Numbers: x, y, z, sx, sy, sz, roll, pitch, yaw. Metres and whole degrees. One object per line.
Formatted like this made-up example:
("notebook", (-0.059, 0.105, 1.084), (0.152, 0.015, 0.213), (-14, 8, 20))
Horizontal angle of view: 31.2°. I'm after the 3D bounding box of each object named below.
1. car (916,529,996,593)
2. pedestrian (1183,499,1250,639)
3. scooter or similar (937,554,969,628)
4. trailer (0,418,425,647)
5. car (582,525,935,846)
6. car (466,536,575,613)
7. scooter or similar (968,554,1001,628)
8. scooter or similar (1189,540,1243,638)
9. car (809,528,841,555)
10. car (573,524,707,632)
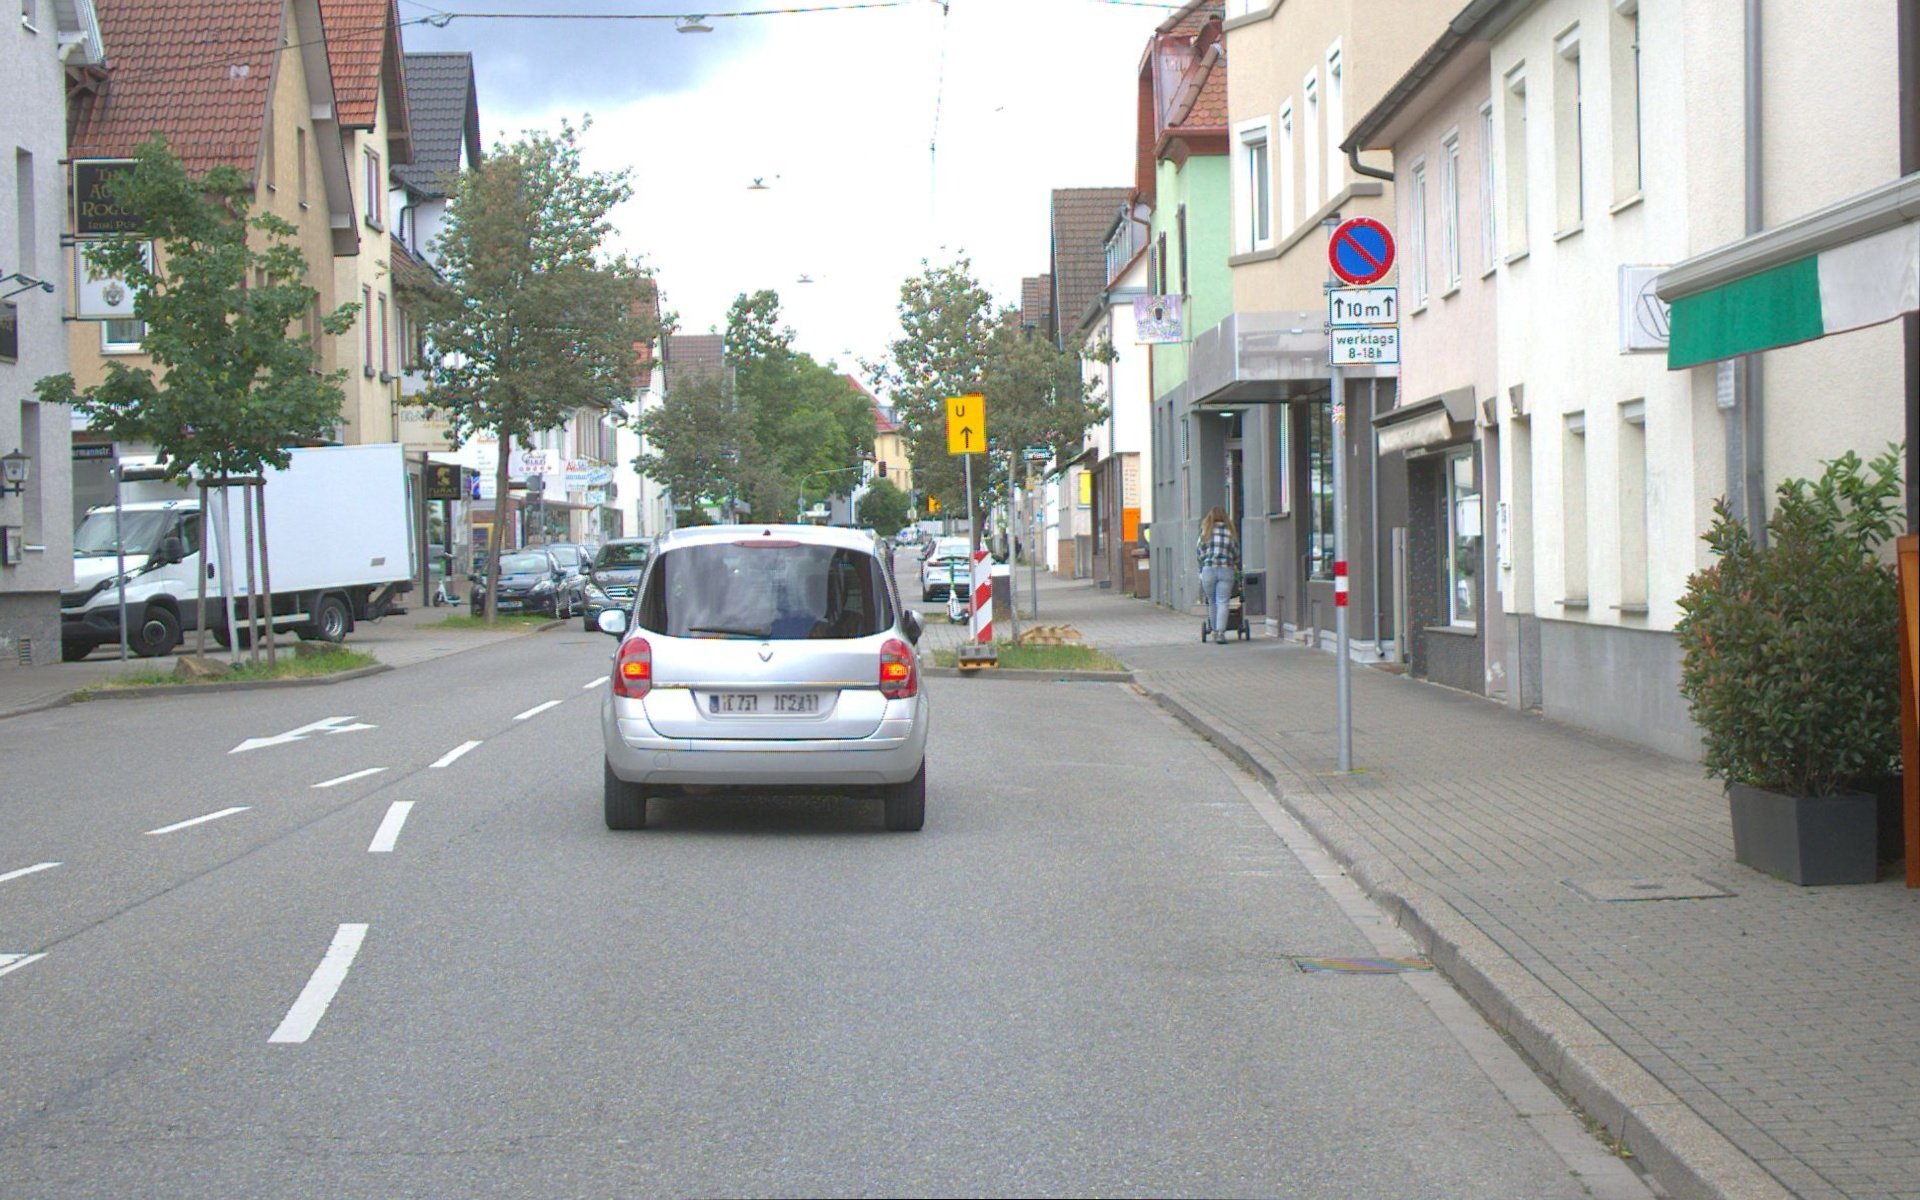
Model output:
("car", (-0.091, -0.928, 81.198), (1.831, 1.441, 4.332), (1, 1, 0))
("pedestrian", (3.192, -0.386, 42.826), (0.750, 1.714, 0.900), (1, 1, 0))
("scooter or similar", (-0.118, -0.166, 58.426), (0.502, 1.231, 1.942), (1, 1, -1))
("trailer", (-11.373, -0.987, 51.878), (2.507, 3.208, 7.122), (1, 1, 31))
("car", (-1.010, 0.389, 18.961), (1.682, 1.560, 3.993), (1, 1, 0))
("car", (-8.663, -0.523, 67.987), (1.682, 1.420, 3.931), (-2, 1, -1))
("scooter or similar", (0.416, -0.162, 58.437), (0.502, 1.231, 1.942), (1, 1, -1))
("scooter or similar", (3.260, -0.149, 43.782), (0.589, 1.228, 0.891), (1, 1, -1))
("car", (-8.817, -3.816, 224.968), (1.900, 1.731, 4.366), (-2, 1, 0))
("car", (-5.612, -0.403, 60.815), (1.993, 1.790, 4.277), (-1, 1, -1))
